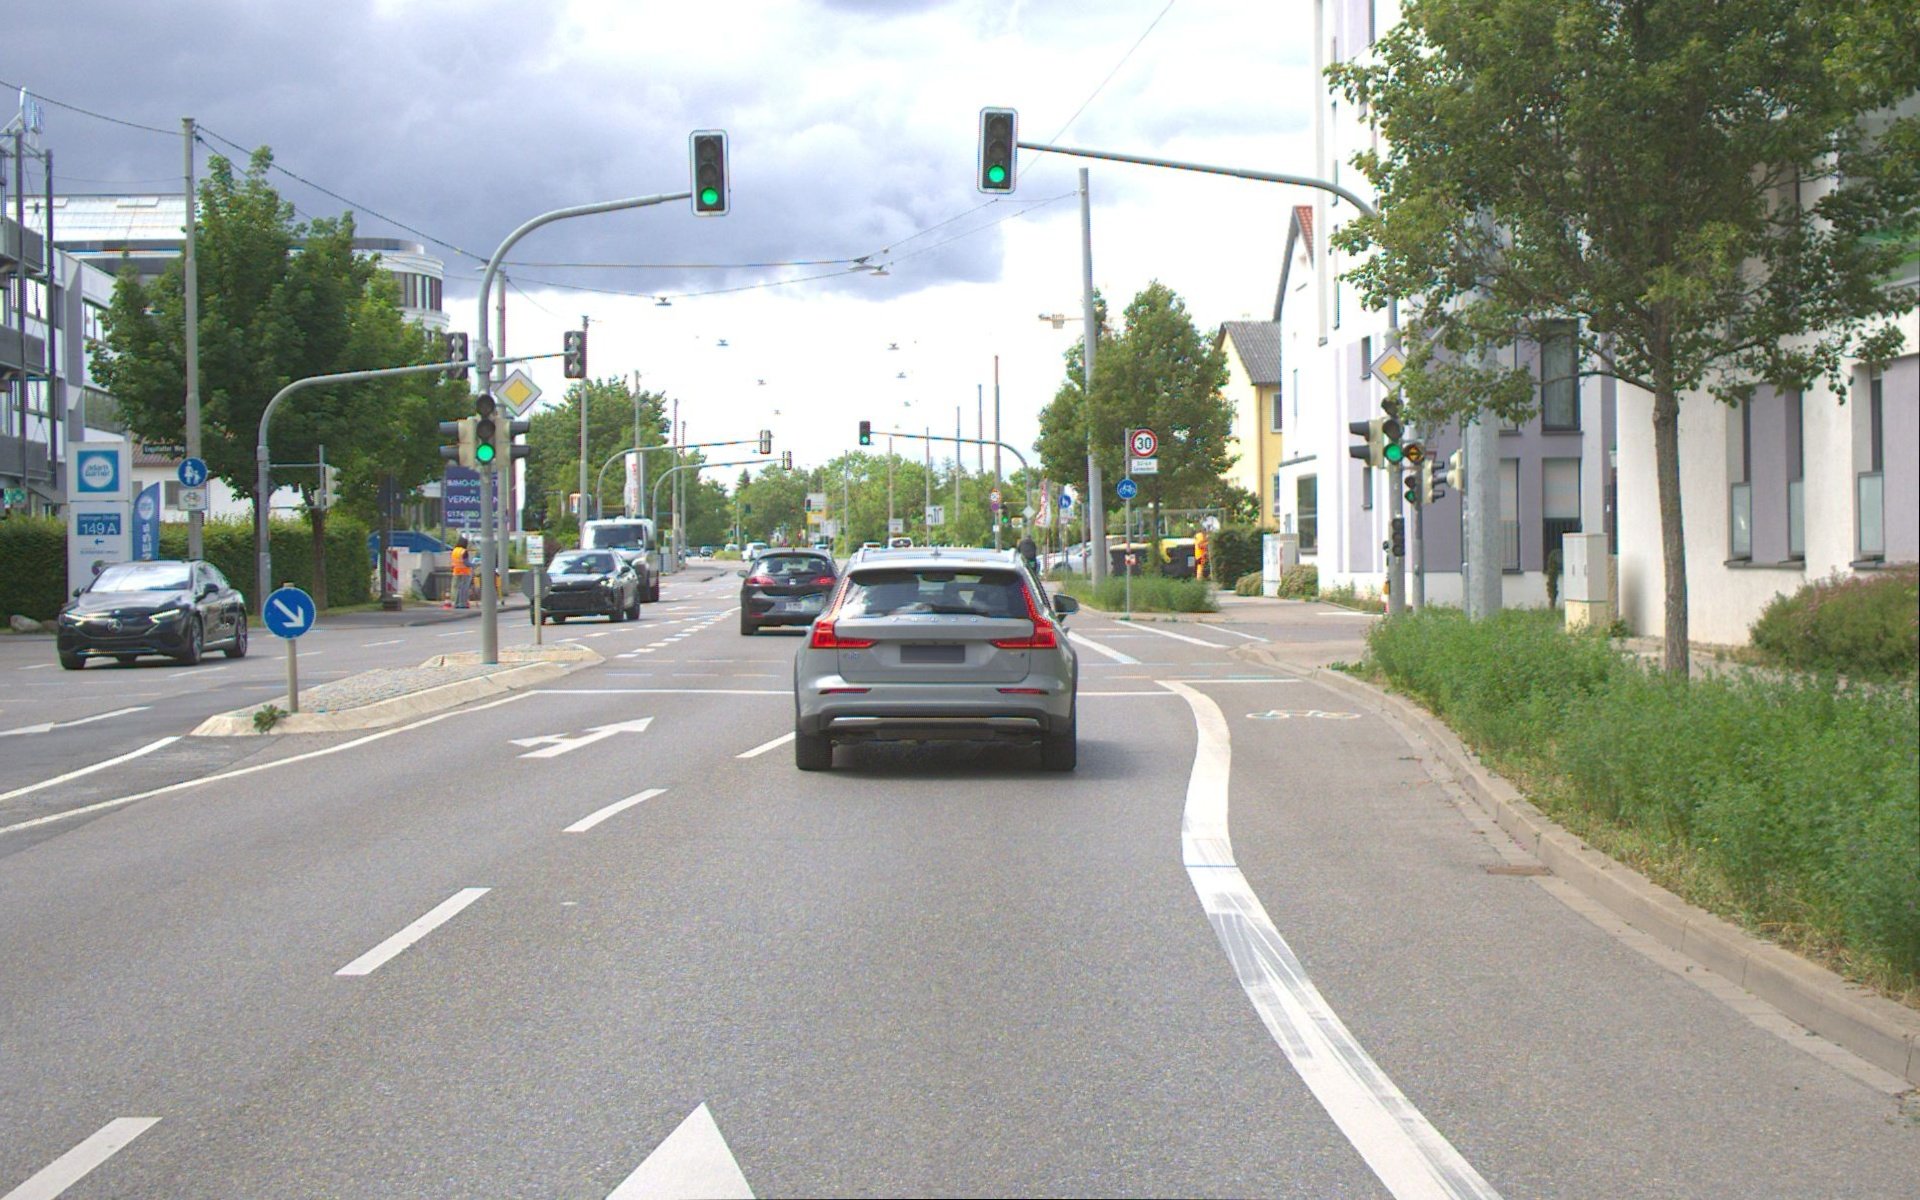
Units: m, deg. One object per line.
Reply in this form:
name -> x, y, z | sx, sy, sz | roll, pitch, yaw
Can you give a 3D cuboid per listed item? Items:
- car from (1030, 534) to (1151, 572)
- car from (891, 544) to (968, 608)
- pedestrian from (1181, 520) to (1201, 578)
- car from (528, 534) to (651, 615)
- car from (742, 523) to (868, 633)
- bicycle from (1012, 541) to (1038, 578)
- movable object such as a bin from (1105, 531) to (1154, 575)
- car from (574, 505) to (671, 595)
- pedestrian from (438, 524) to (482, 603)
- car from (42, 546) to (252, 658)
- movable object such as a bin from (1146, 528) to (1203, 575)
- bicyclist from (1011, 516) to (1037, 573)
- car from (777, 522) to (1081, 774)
car -> 5.201, -1.904, 137.723 | 4.696, 1.488, 2.046 | 0, 1, -1
car -> -0.871, -0.646, 94.388 | 1.993, 1.689, 4.000 | 1, 0, -2
pedestrian -> 7.190, -1.587, 107.062 | 0.507, 1.759, 0.500 | 1, 0, 16
car -> -7.598, -0.514, 70.874 | 1.885, 1.547, 4.540 | -2, 0, 1
car -> -2.603, -0.360, 57.157 | 1.993, 1.711, 4.000 | 1, 0, -3
bicycle -> 1.941, -1.208, 102.655 | 0.638, 1.059, 1.977 | -4, 1, -1
movable object such as a bin -> 5.364, -1.468, 108.670 | 1.320, 1.356, 1.250 | -1, 0, 15
car -> -9.796, -1.451, 100.236 | 2.142, 2.463, 6.073 | -2, 1, 0
pedestrian -> -12.876, -0.941, 88.594 | 0.725, 2.007, 0.808 | 1, 0, 42
car -> -11.669, 0.006, 49.673 | 2.024, 1.440, 5.050 | -3, 1, -3
movable object such as a bin -> 6.801, -1.532, 108.870 | 1.322, 1.430, 1.249 | -1, 0, 36
bicyclist -> 1.905, -1.654, 102.750 | 0.638, 1.670, 0.890 | -4, 1, -1
car -> -0.200, 0.298, 23.734 | 1.895, 1.549, 4.000 | 1, 0, 0
